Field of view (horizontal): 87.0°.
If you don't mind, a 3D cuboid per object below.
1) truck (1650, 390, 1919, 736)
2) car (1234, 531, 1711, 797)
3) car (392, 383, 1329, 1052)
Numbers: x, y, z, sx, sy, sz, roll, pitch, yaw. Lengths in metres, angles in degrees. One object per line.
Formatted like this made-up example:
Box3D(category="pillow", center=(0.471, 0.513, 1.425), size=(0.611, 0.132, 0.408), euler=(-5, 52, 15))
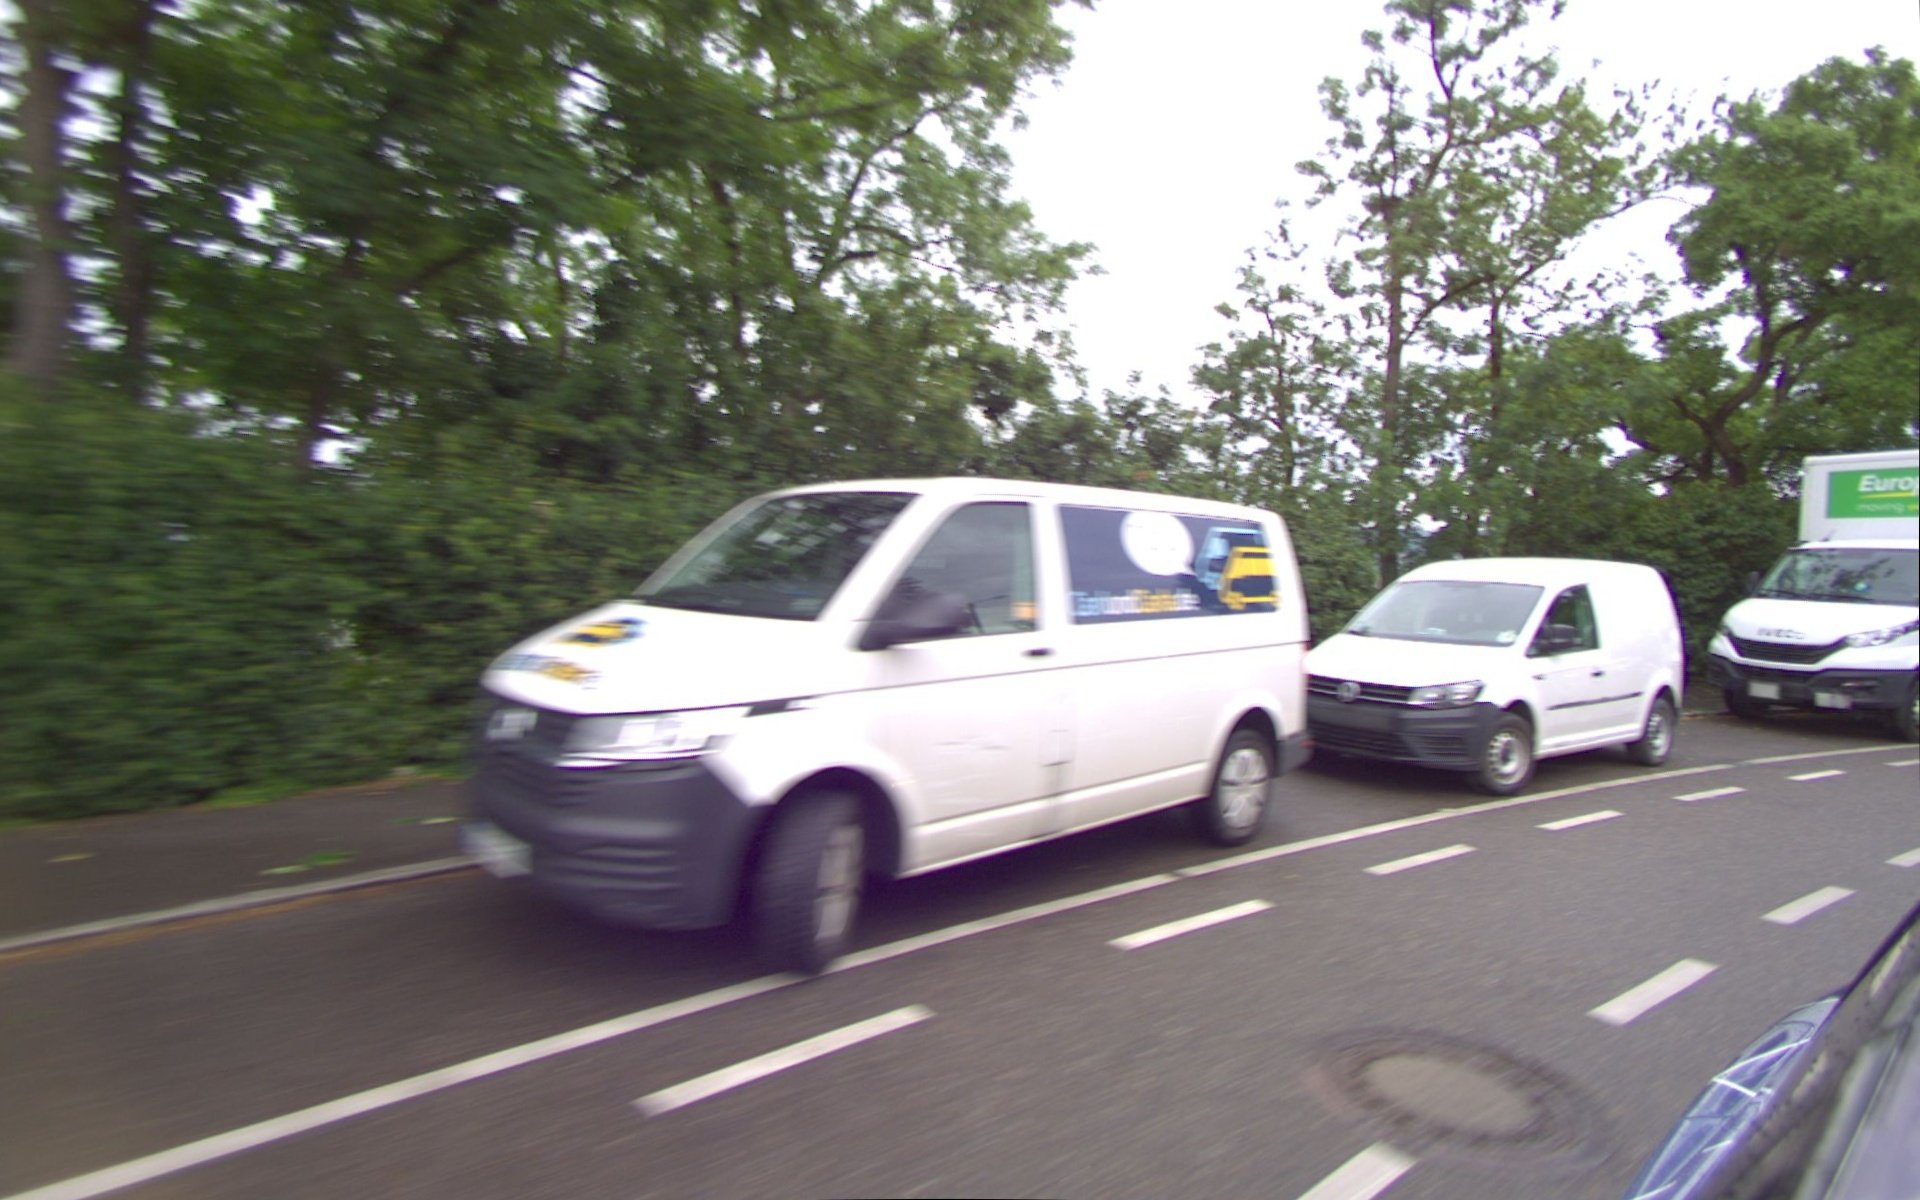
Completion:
Box3D(category="truck", center=(13.465, -0.377, 12.878), size=(8.744, 3.512, 2.790), euler=(1, 3, -18))
Box3D(category="car", center=(4.565, 0.403, 8.812), size=(4.295, 1.792, 1.866), euler=(0, 2, -35))
Box3D(category="car", center=(-0.084, 0.316, 5.296), size=(4.727, 1.972, 1.862), euler=(0, 2, -44))
